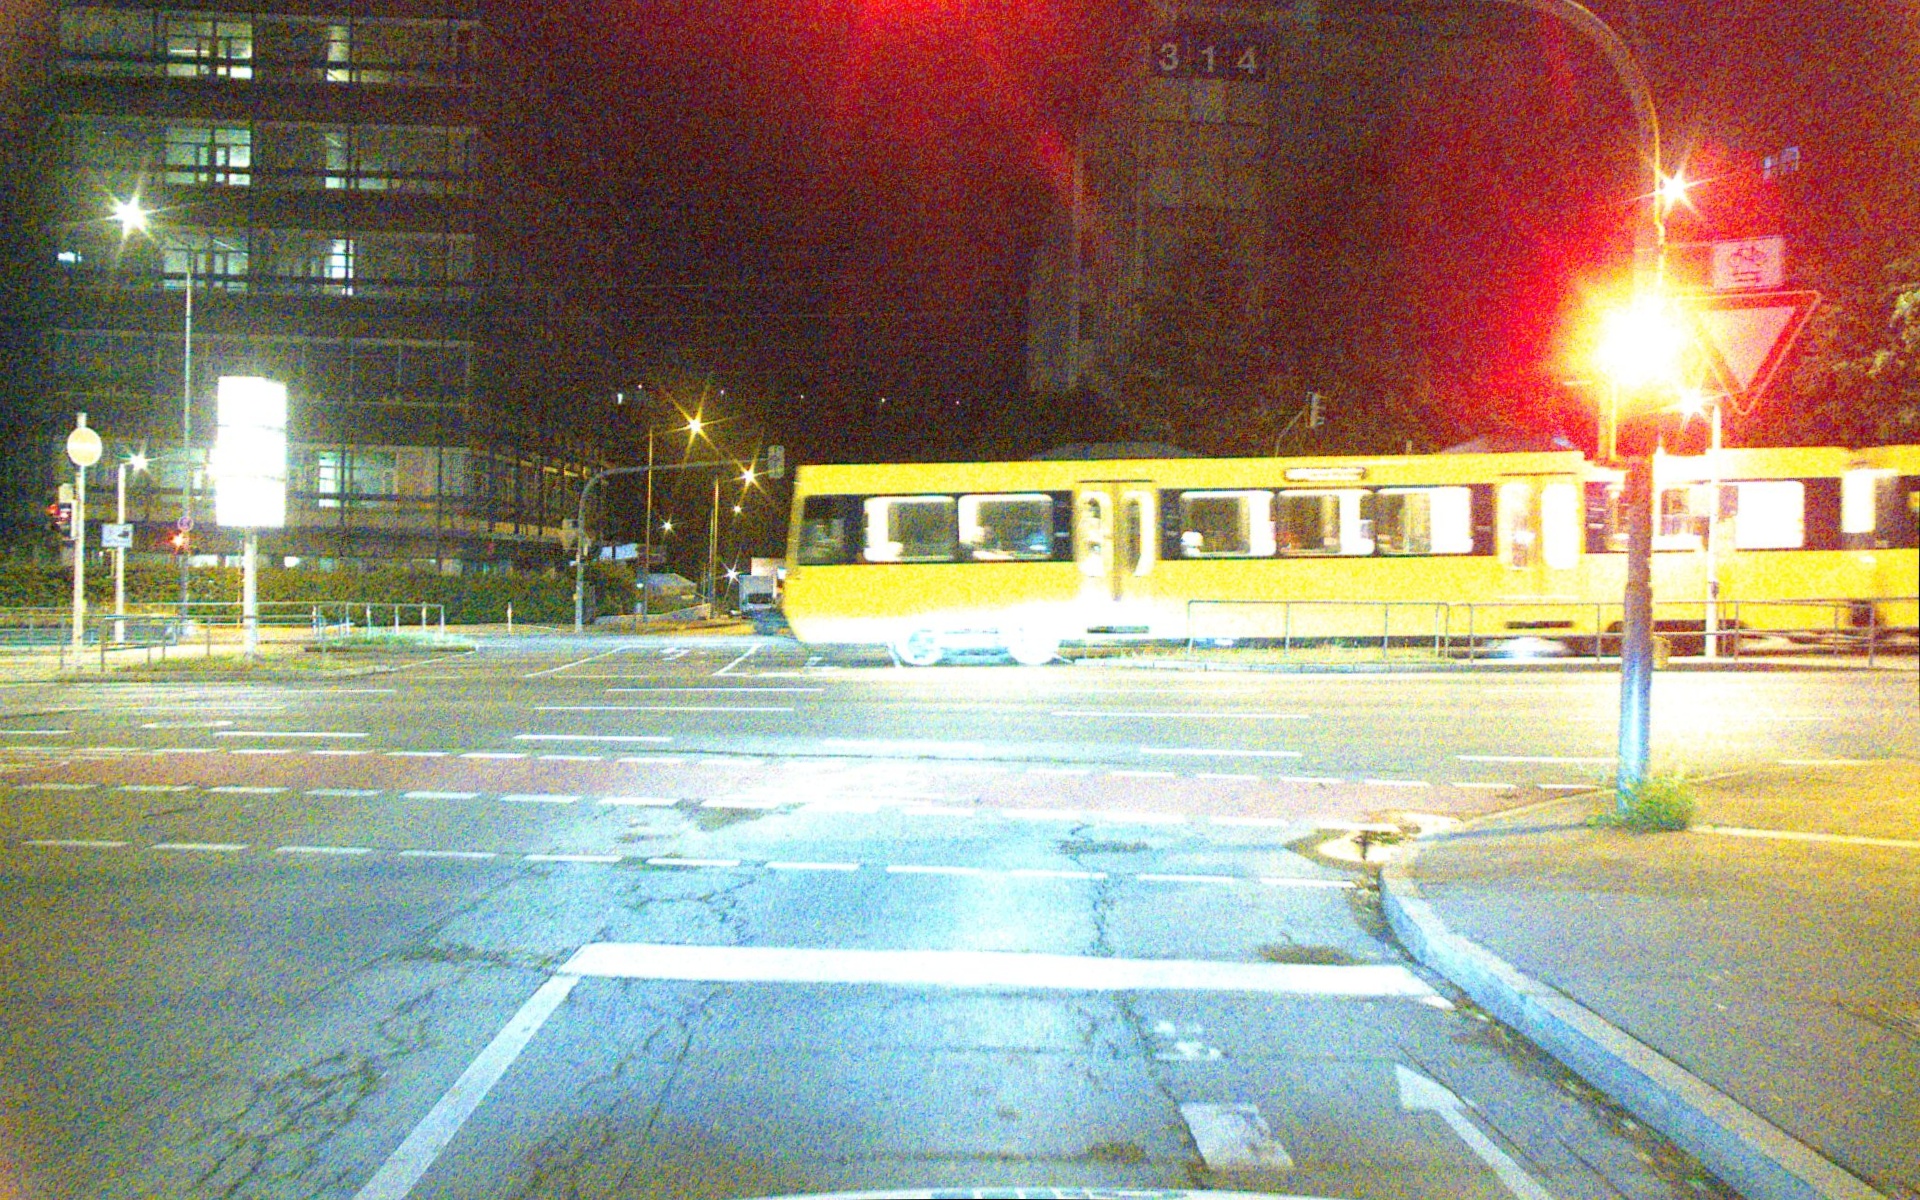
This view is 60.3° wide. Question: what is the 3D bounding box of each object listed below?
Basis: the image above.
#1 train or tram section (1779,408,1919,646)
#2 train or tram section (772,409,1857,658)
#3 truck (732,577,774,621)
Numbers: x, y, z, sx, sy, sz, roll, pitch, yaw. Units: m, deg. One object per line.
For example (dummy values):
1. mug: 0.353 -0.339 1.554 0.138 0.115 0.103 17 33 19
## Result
1. train or tram section: 24.144 -1.243 28.281 18.458 3.917 2.966 0 -1 3
2. train or tram section: 5.902 -1.138 29.298 18.032 3.916 2.967 -1 2 3
3. truck: -15.214 -0.080 121.256 2.377 3.143 6.415 1 0 -14
